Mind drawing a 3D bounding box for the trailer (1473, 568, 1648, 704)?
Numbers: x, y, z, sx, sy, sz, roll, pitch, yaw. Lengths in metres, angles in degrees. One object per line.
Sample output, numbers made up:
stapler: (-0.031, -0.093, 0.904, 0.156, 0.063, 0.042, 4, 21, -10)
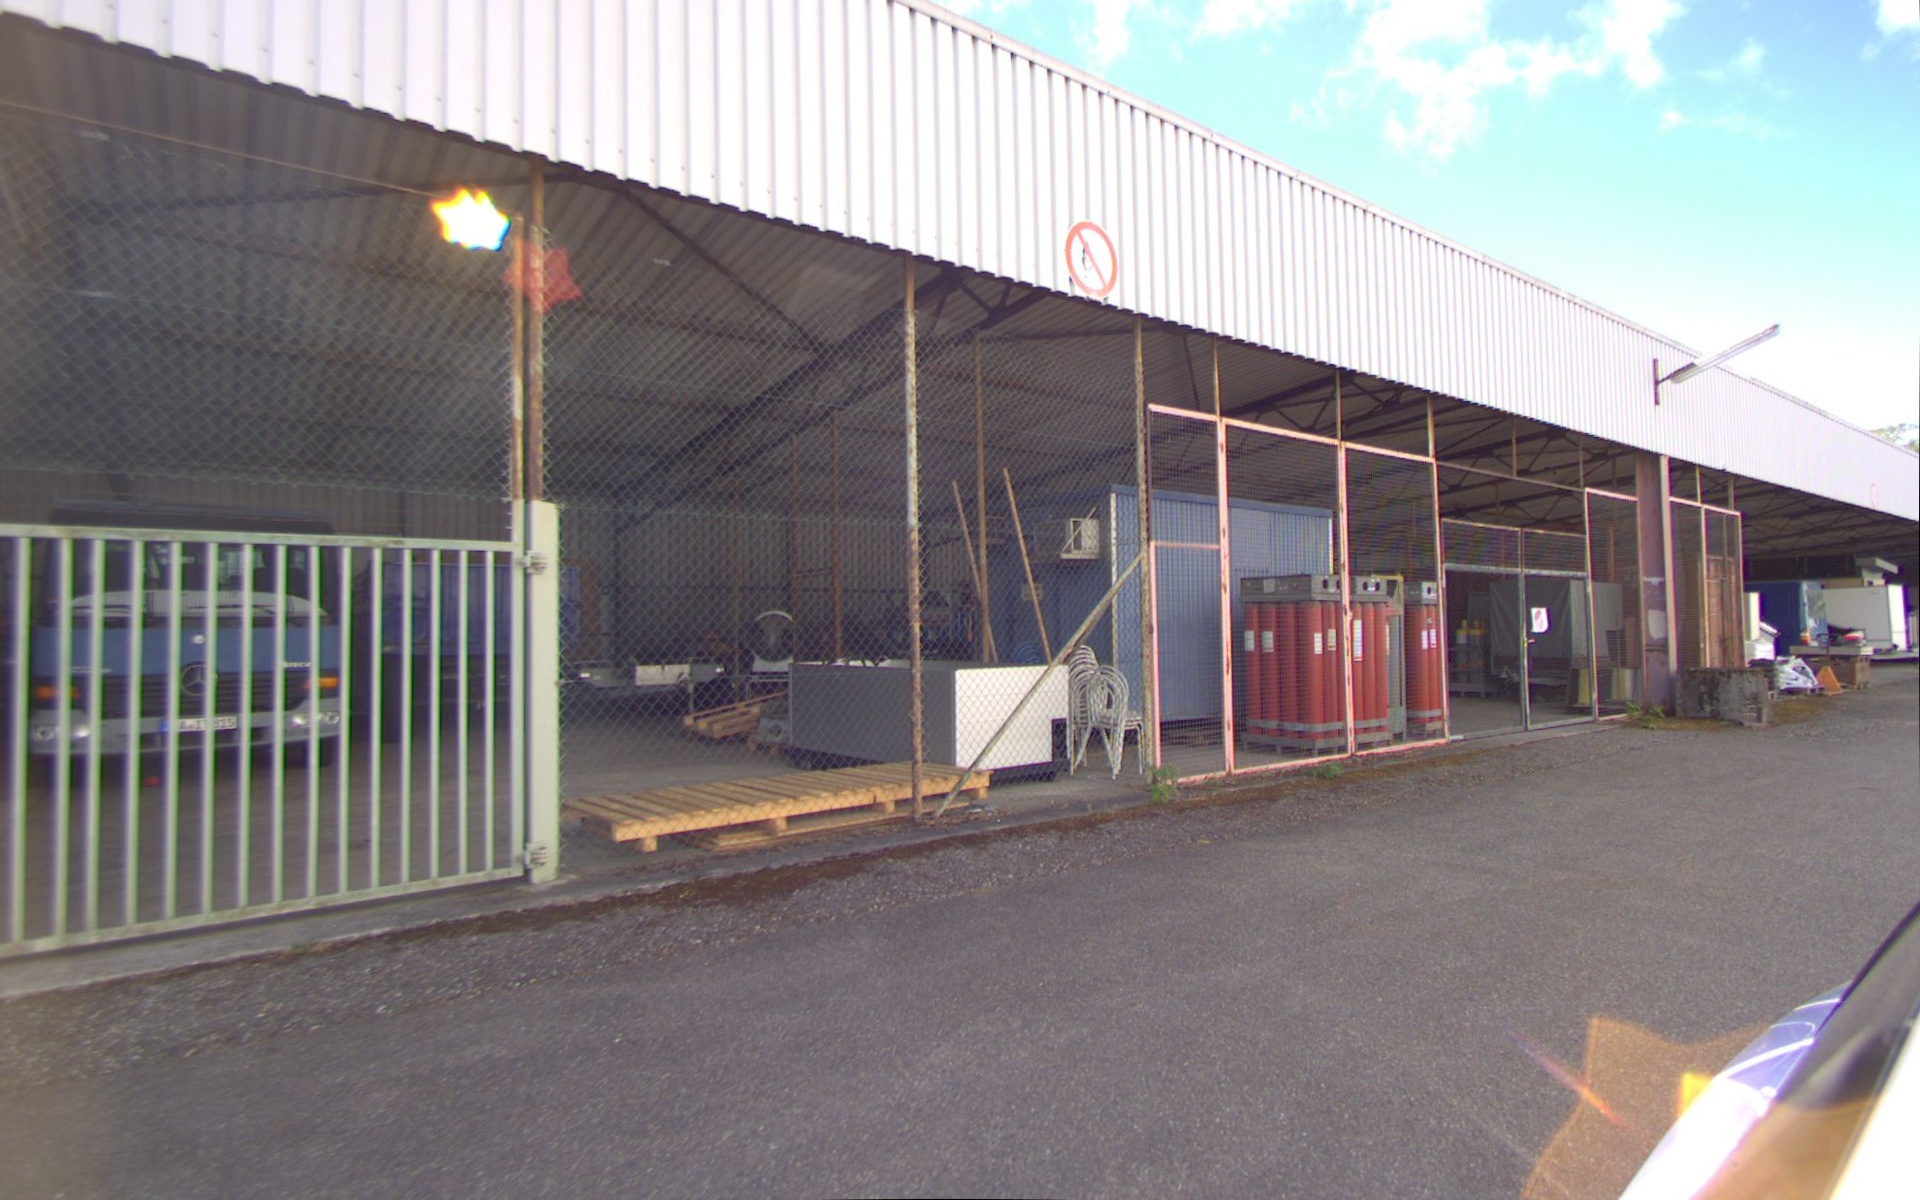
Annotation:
trailer: (10.648, 0.581, 17.873, 3.459, 2.170, 1.580, 0, -1, -40)

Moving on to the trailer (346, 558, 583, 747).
trailer: (-6.790, 0.647, 13.706, 2.417, 2.166, 3.415, 1, -2, -35)

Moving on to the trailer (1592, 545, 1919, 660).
trailer: (26.856, 0.125, 33.053, 2.625, 3.337, 10.322, 1, -1, -36)

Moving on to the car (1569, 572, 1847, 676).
car: (18.593, 0.615, 25.435, 2.046, 2.327, 5.228, 0, -2, -37)

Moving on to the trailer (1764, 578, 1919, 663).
trailer: (26.463, 0.583, 29.406, 1.657, 2.365, 4.555, 1, -1, -36)

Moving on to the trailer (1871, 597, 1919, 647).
trailer: (40.294, 0.874, 40.881, 2.007, 2.022, 4.833, 0, -1, -34)

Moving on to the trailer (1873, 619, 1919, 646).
trailer: (42.803, 1.356, 42.977, 1.972, 1.148, 5.747, 1, -2, -38)

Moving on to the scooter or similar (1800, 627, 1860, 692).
scooter or similar: (16.312, 1.092, 18.964, 1.563, 1.149, 0.521, 0, -2, -38)

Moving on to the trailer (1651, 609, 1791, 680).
trailer: (17.235, 0.984, 22.964, 1.610, 1.481, 2.101, 0, -1, -34)

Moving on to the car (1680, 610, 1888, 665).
car: (23.548, 1.021, 29.054, 1.832, 1.452, 4.352, 0, -1, -40)

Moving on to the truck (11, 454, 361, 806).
truck: (-8.100, 0.311, 10.828, 2.322, 2.741, 5.580, 1, -2, -37)
